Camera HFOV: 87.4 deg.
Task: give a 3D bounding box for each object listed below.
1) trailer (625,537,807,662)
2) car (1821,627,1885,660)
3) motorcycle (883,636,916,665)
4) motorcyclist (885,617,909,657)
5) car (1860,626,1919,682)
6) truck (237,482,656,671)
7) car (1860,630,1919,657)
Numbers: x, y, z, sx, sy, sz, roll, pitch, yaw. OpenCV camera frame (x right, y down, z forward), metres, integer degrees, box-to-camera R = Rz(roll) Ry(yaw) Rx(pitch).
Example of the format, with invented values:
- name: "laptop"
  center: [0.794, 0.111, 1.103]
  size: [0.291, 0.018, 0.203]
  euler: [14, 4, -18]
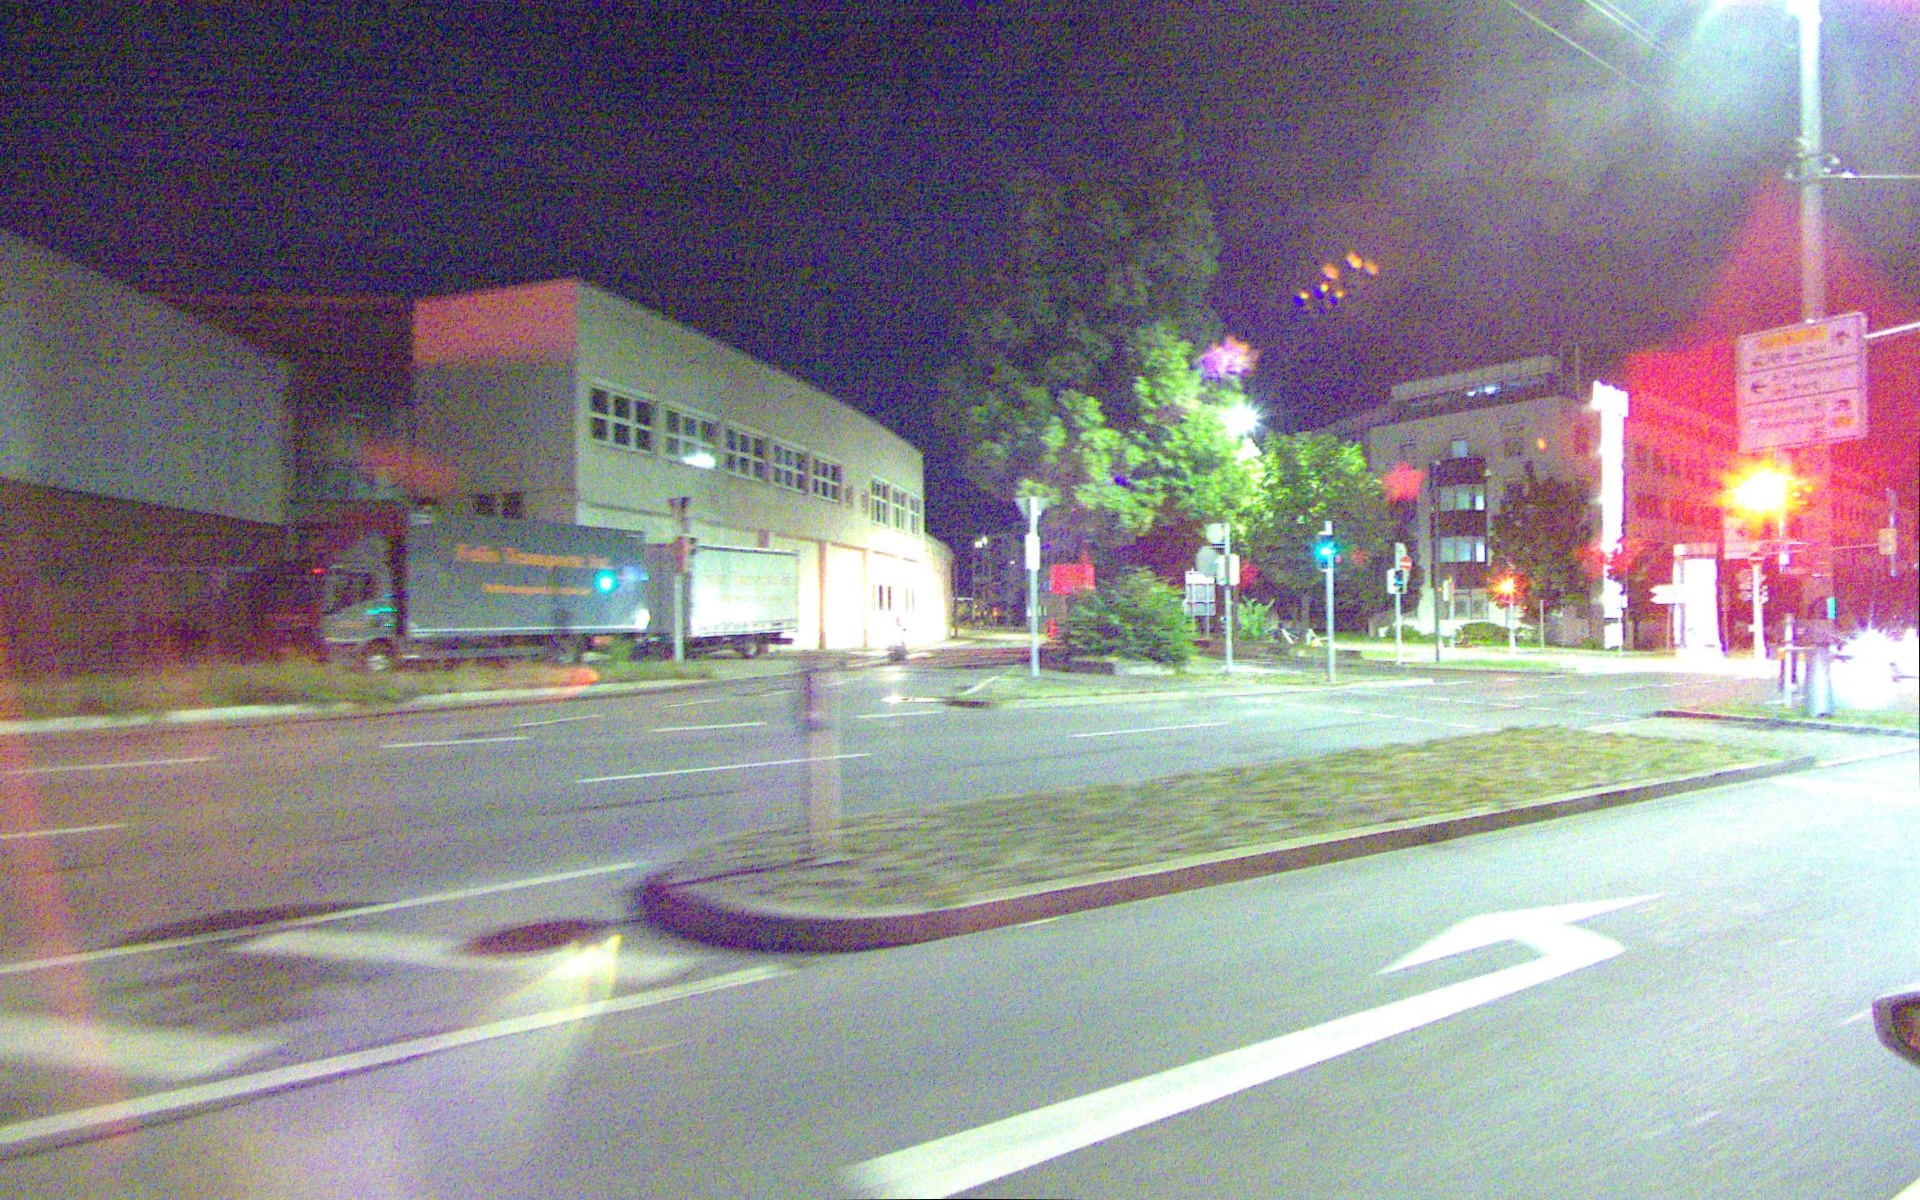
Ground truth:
- name: "trailer"
  center: [-8.125, 0.065, 34.361]
  size: [2.572, 3.841, 6.510]
  euler: [1, -1, 24]
- name: "car"
  center: [42.785, 2.086, 48.104]
  size: [3.964, 1.535, 1.604]
  euler: [2, -2, -38]
- name: "motorcycle"
  center: [-1.975, 1.667, 33.169]
  size: [0.568, 0.907, 2.157]
  euler: [-2, -2, 10]
- name: "motorcyclist"
  center: [-2.074, 1.210, 33.100]
  size: [0.635, 1.278, 0.579]
  euler: [1, -1, 10]
- name: "car"
  center: [26.920, 1.477, 27.054]
  size: [1.676, 1.511, 3.999]
  euler: [1, -1, -3]
- name: "truck"
  center: [-12.218, -0.334, 25.380]
  size: [2.892, 3.846, 9.549]
  euler: [0, -2, 26]
- name: "car"
  center: [48.678, 2.294, 52.584]
  size: [3.516, 1.339, 1.744]
  euler: [2, -2, -38]
